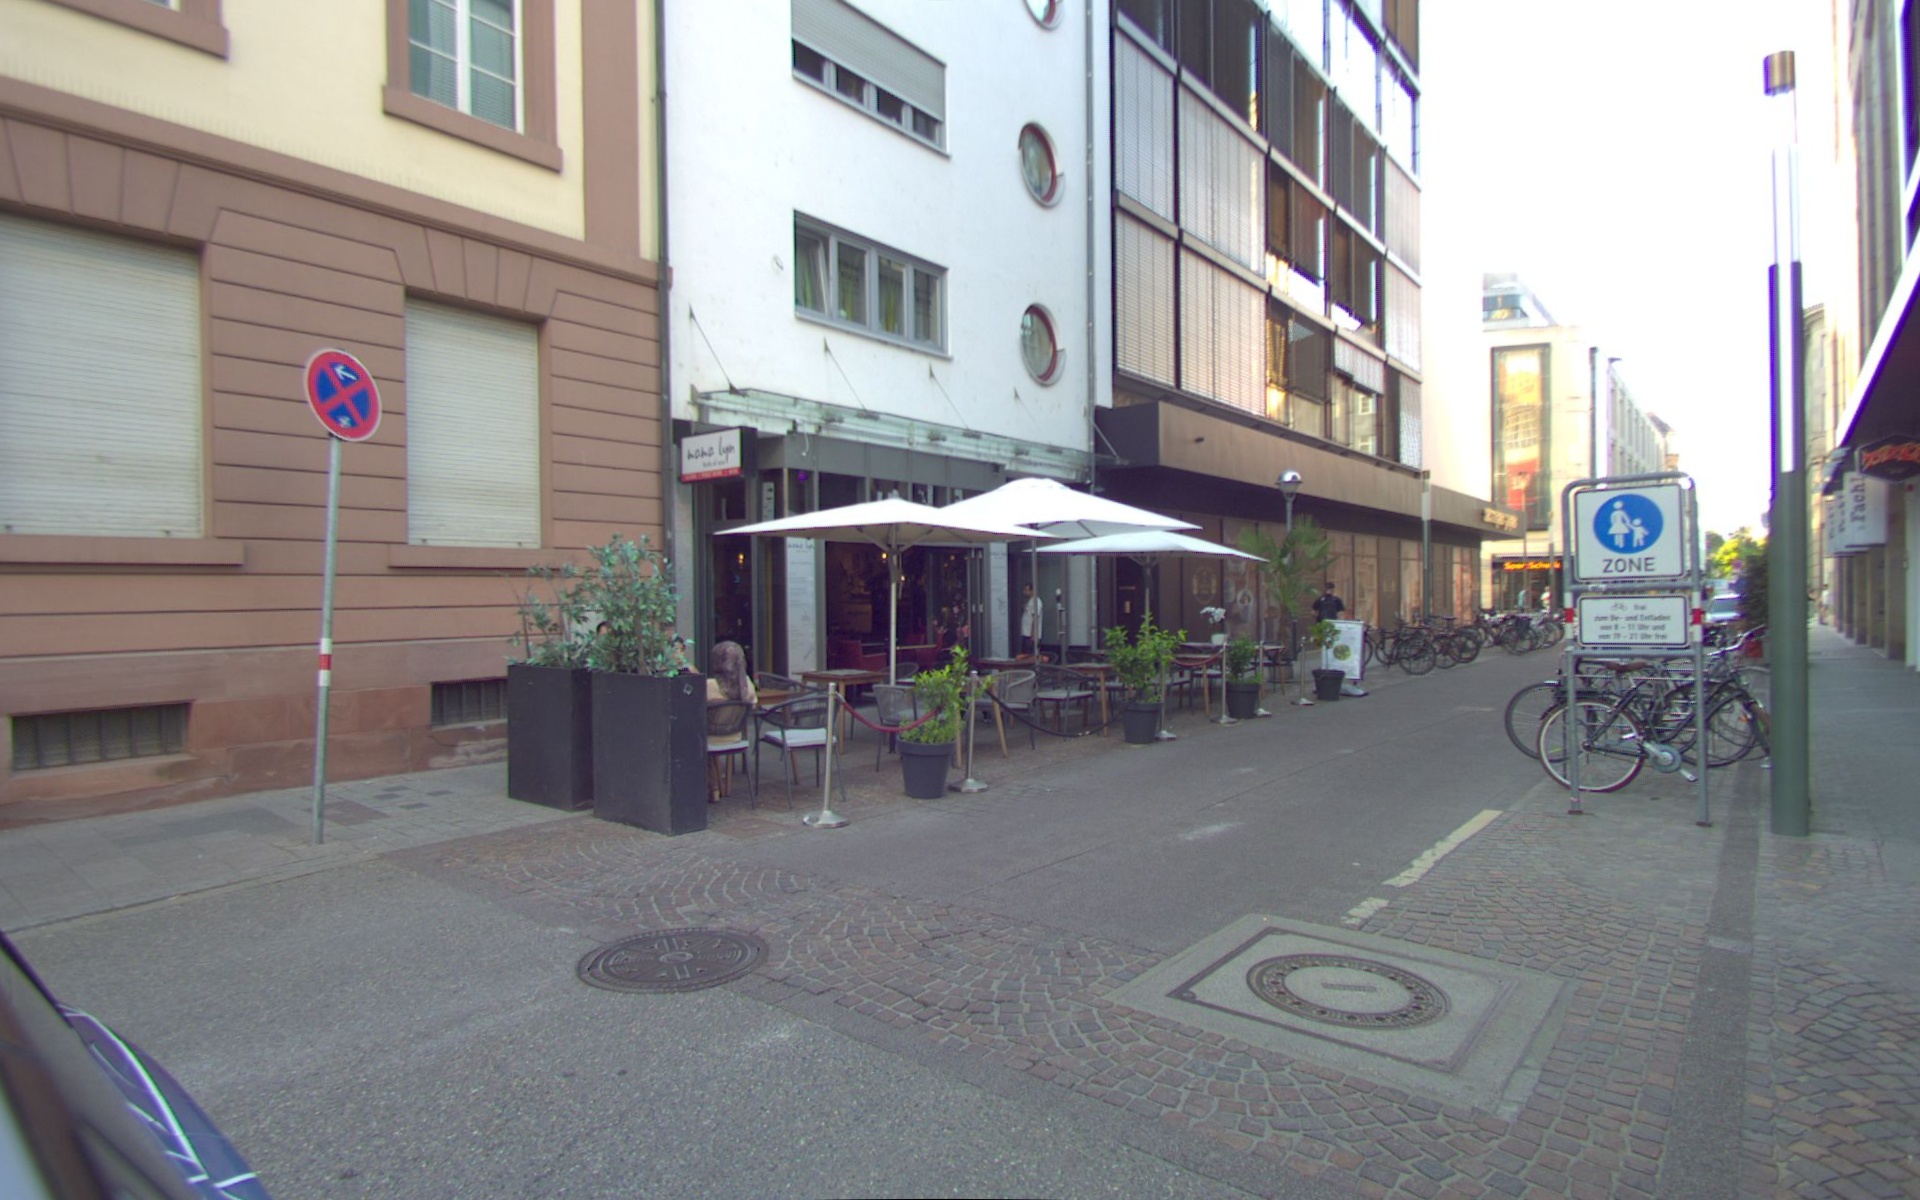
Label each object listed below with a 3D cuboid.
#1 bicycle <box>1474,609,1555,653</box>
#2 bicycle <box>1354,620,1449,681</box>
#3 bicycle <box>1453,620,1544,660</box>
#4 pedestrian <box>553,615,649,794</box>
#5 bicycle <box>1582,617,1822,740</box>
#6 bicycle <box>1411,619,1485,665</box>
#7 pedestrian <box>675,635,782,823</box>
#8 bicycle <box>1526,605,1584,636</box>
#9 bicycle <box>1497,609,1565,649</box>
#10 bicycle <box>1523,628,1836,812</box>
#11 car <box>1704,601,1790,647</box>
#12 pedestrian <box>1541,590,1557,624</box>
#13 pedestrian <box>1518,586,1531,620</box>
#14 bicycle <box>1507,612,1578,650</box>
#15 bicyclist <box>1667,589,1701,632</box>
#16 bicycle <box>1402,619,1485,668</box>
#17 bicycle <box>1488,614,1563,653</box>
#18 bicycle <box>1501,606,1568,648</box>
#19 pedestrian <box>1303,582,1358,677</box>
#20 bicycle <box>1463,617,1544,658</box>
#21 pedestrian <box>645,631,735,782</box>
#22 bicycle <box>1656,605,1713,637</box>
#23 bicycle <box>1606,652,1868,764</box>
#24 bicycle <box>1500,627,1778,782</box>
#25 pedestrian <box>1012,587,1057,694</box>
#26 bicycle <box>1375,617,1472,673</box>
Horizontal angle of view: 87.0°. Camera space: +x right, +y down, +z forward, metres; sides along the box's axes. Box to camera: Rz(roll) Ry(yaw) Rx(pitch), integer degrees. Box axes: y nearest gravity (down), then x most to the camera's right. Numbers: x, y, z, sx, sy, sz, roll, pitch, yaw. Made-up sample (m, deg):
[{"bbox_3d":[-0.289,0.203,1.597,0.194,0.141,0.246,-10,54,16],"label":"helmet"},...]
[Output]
[{"bbox_3d":[14.971,0.836,27.354,1.846,1.144,0.460,-1,0,38],"label":"bicycle"},{"bbox_3d":[8.316,0.931,19.089,1.540,1.093,0.541,-1,0,38],"label":"bicycle"},{"bbox_3d":[13.398,0.979,25.222,1.942,0.964,0.460,-1,0,38],"label":"bicycle"},{"bbox_3d":[-2.871,0.806,8.097,0.488,1.359,0.542,-1,0,41],"label":"pedestrian"},{"bbox_3d":[7.556,0.779,10.389,1.909,1.153,0.550,-2,-1,38],"label":"bicycle"},{"bbox_3d":[11.190,0.950,23.217,1.453,1.013,0.460,-1,0,38],"label":"bicycle"},{"bbox_3d":[-1.609,0.865,7.048,0.461,1.221,0.554,-1,0,41],"label":"pedestrian"},{"bbox_3d":[21.121,0.724,35.954,1.731,1.069,0.431,-1,0,38],"label":"bicycle"},{"bbox_3d":[17.171,0.869,30.462,1.731,1.154,0.460,-1,0,38],"label":"bicycle"},{"bbox_3d":[4.967,0.785,7.081,1.671,1.122,0.700,-3,-2,38],"label":"bicycle"},{"bbox_3d":[22.845,0.664,29.345,1.629,1.231,3.437,-1,0,44],"label":"car"},{"bbox_3d":[27.541,0.331,47.337,0.470,1.584,0.380,-1,0,-12],"label":"pedestrian"},{"bbox_3d":[26.460,0.141,47.452,0.475,1.564,0.431,-1,0,23],"label":"pedestrian"},{"bbox_3d":[16.719,0.891,29.065,1.731,1.059,0.460,-1,0,38],"label":"bicycle"},{"bbox_3d":[24.887,0.360,34.812,0.724,1.459,0.576,-1,-1,-16],"label":"bicyclist"},{"bbox_3d":[10.548,0.934,22.097,1.554,1.045,0.460,-1,0,38],"label":"bicycle"},{"bbox_3d":[15.809,0.919,28.318,1.775,1.059,0.460,-1,0,38],"label":"bicycle"},{"bbox_3d":[17.656,0.819,31.106,1.731,1.238,0.460,-1,0,38],"label":"bicycle"},{"bbox_3d":[7.153,0.561,19.590,0.731,1.798,0.967,-1,0,4],"label":"pedestrian"},{"bbox_3d":[14.066,0.952,26.226,1.793,1.016,0.524,-1,0,38],"label":"bicycle"},{"bbox_3d":[-2.330,0.891,8.729,0.524,1.220,0.542,-1,0,41],"label":"pedestrian"},{"bbox_3d":[24.934,0.723,34.827,1.763,1.022,0.586,-1,-1,-16],"label":"bicycle"},{"bbox_3d":[6.885,0.931,9.061,1.791,0.902,0.448,-3,-2,38],"label":"bicycle"},{"bbox_3d":[5.639,0.832,8.487,1.839,1.159,0.602,-3,-2,38],"label":"bicycle"},{"bbox_3d":[1.213,0.642,16.362,0.618,1.678,0.668,-1,0,12],"label":"pedestrian"},{"bbox_3d":[9.472,0.896,20.715,1.726,1.100,0.541,-1,0,38],"label":"bicycle"}]
